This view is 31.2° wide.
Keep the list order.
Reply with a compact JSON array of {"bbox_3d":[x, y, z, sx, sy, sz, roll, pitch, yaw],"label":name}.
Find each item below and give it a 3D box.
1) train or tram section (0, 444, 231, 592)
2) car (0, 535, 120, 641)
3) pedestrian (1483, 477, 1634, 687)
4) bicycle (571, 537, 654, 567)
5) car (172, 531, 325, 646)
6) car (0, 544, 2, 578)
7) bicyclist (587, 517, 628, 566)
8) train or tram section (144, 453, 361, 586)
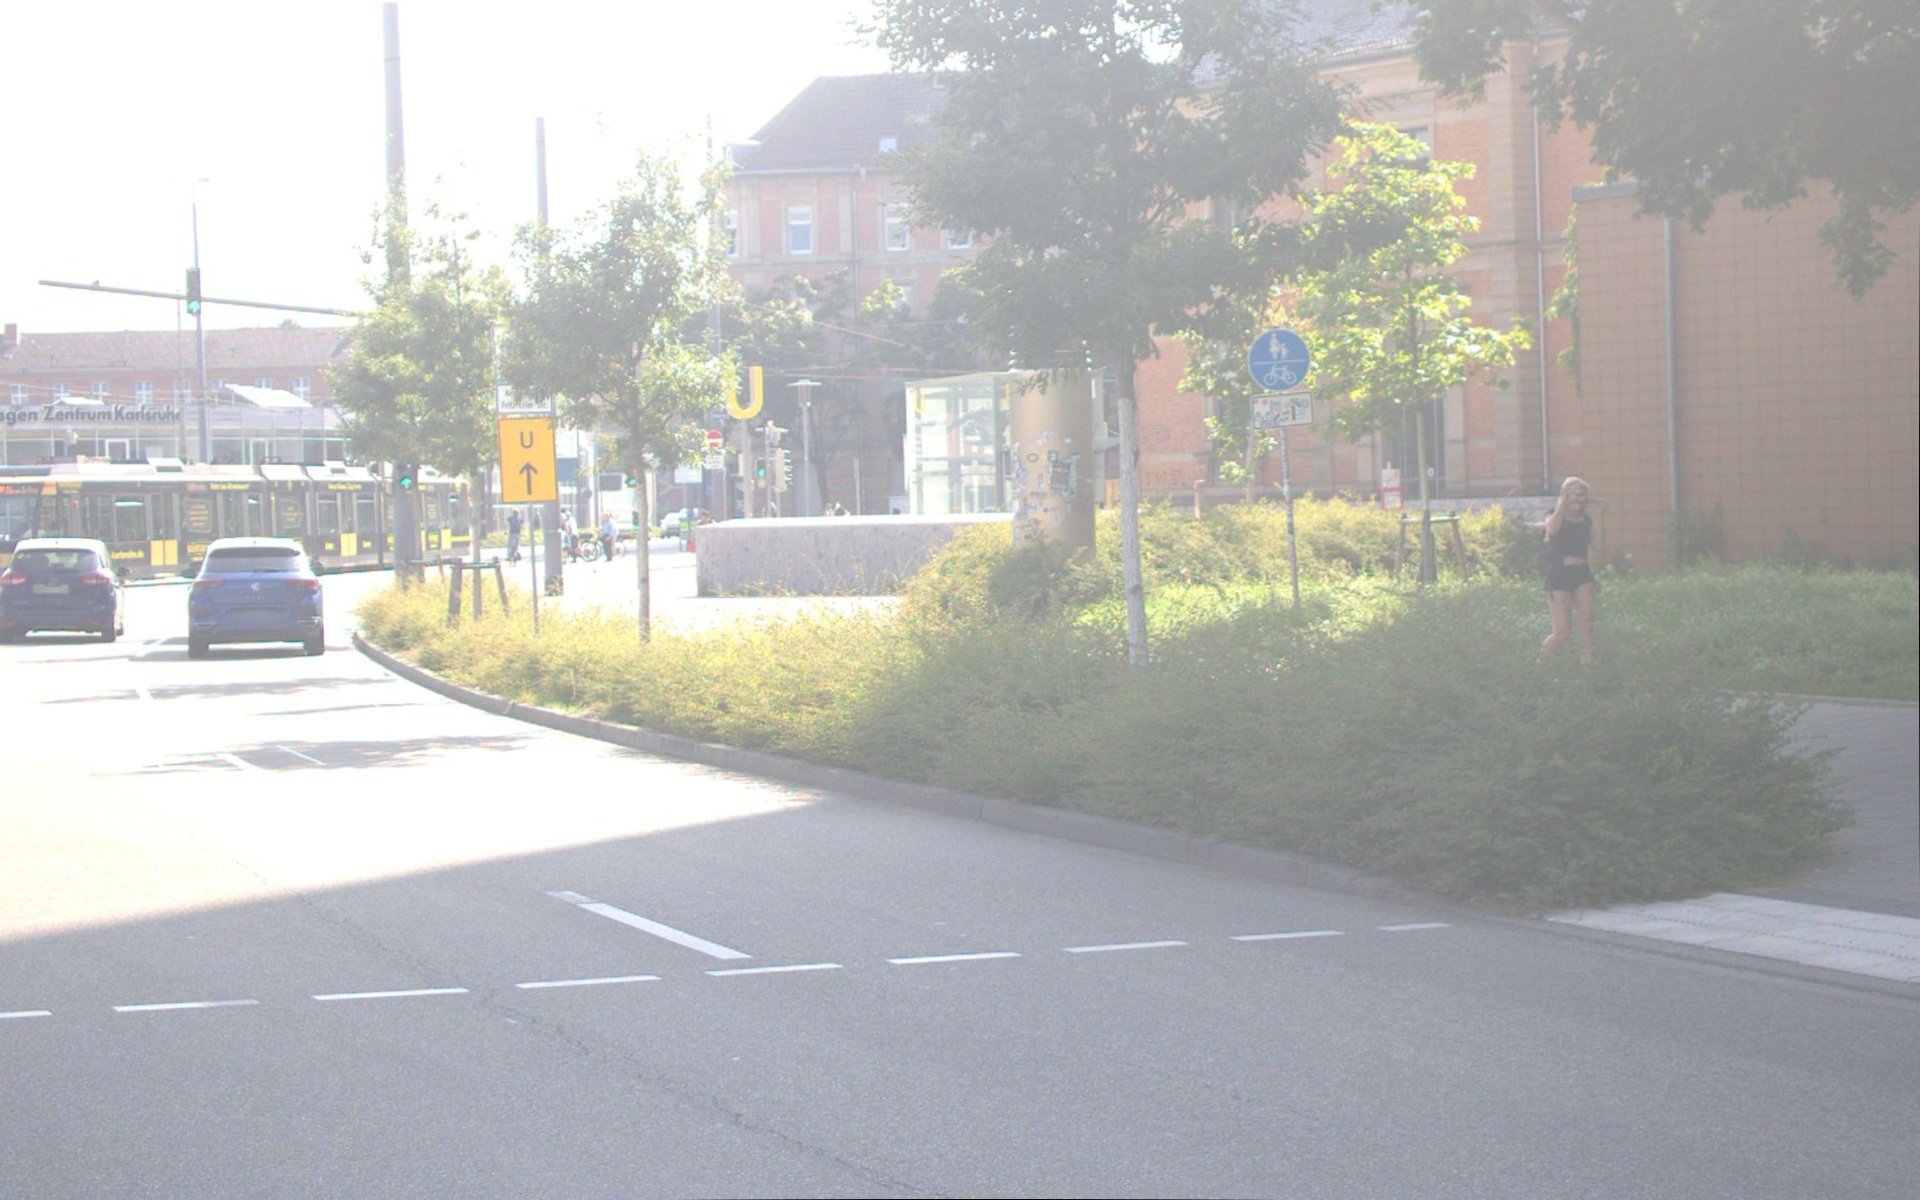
[{"bbox_3d":[-23.021,-2.228,91.609,2.656,3.686,10.584,-1,2,13],"label":"train or tram section"},{"bbox_3d":[-14.253,-0.226,54.354,1.825,1.530,4.414,-2,2,-14],"label":"car"},{"bbox_3d":[4.212,-0.136,24.241,0.724,1.438,0.857,-2,1,-15],"label":"pedestrian"},{"bbox_3d":[-12.041,-1.656,119.130,2.619,0.961,1.093,-2,2,-36],"label":"bicycle"},{"bbox_3d":[-9.781,-0.200,47.024,1.825,1.423,4.414,-2,2,-14],"label":"car"},{"bbox_3d":[-32.732,-1.382,112.111,1.614,1.470,4.000,-3,1,3],"label":"car"},{"bbox_3d":[-12.202,-2.015,119.002,0.934,1.674,1.093,-2,2,-36],"label":"bicyclist"},{"bbox_3d":[-20.838,-2.438,102.005,2.708,3.686,10.586,-1,2,8],"label":"train or tram section"}]
